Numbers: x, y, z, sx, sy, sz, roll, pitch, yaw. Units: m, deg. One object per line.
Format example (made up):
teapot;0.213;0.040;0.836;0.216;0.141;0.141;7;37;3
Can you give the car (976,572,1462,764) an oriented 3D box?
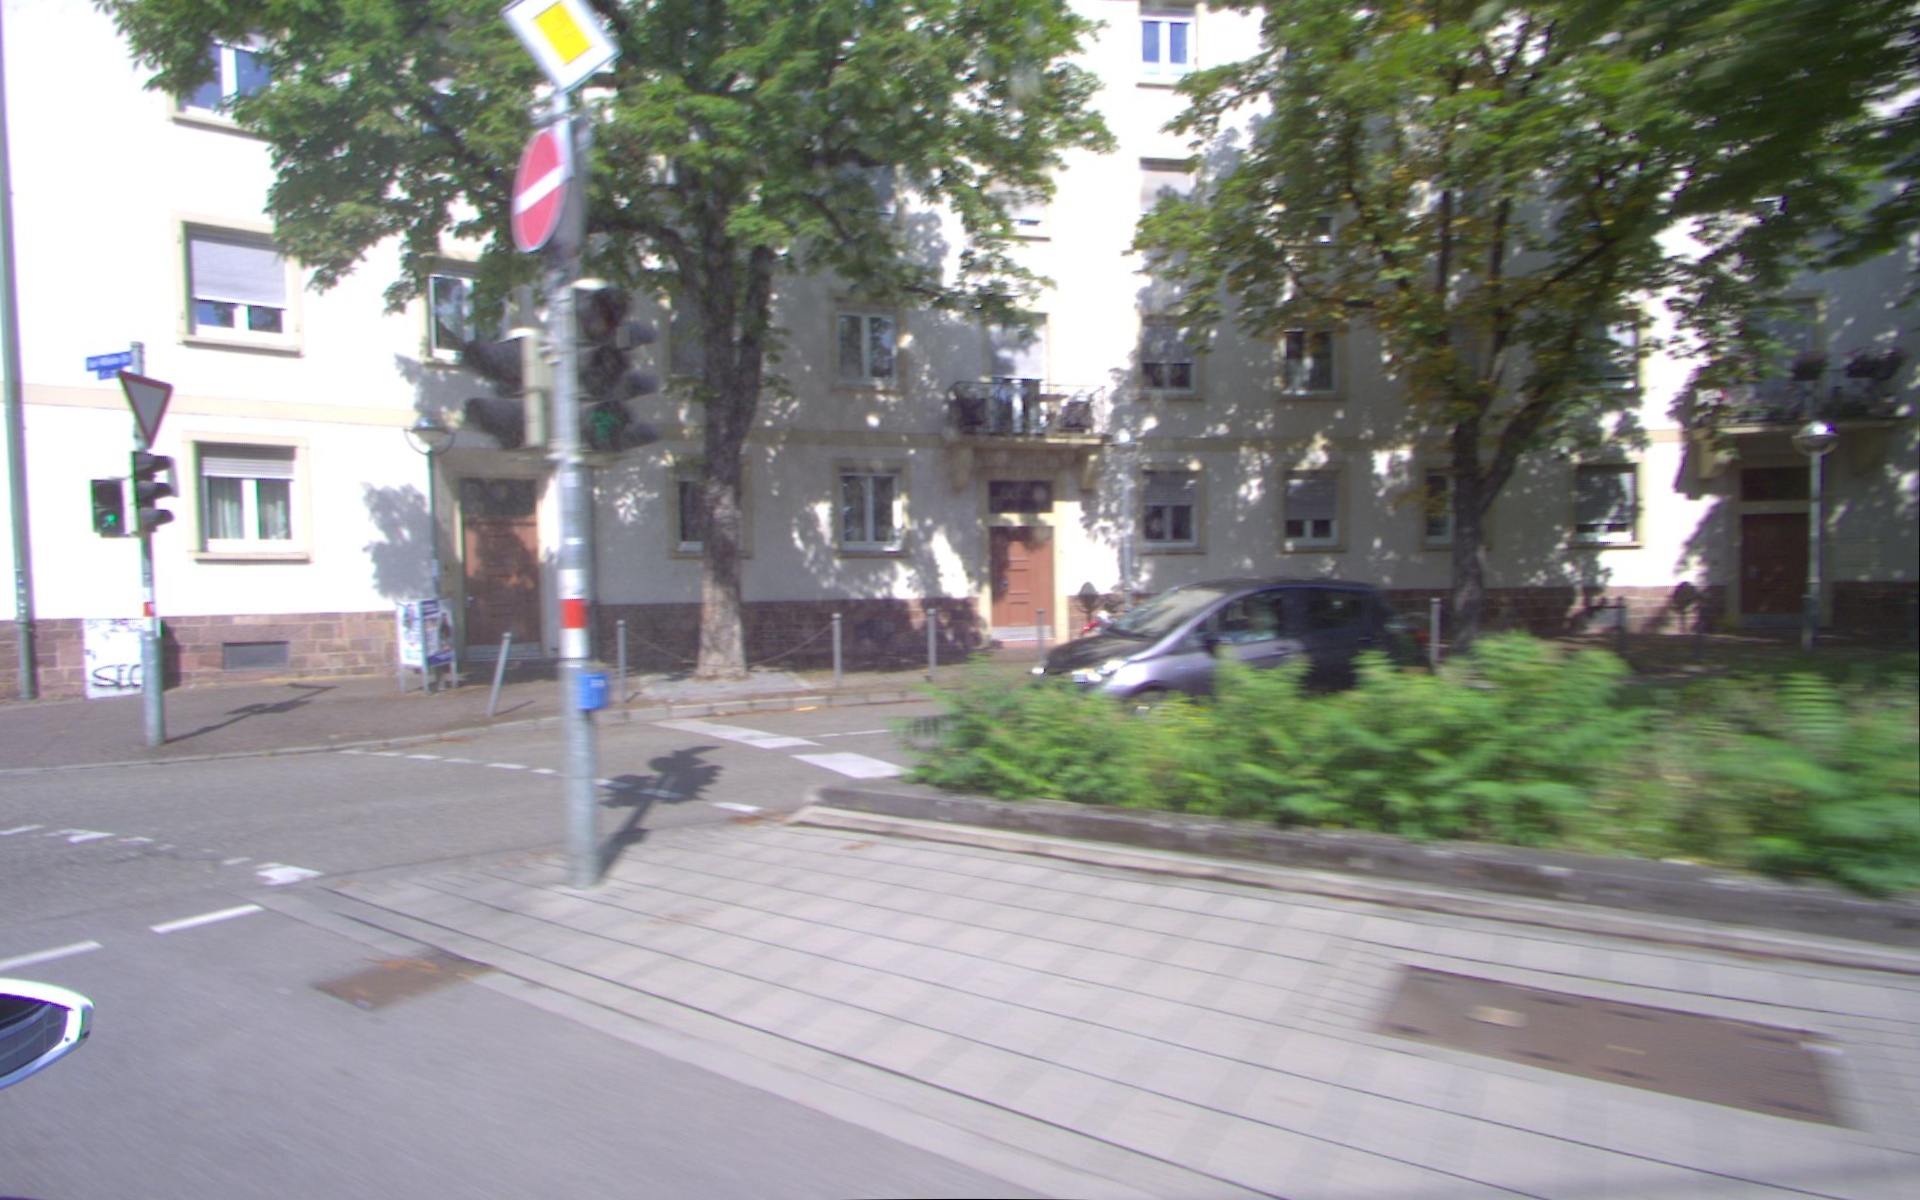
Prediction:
car;2.366;0.522;9.553;4.095;1.531;1.848;-1;3;-14

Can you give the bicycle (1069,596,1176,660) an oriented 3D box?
bicycle;2.746;0.466;17.005;1.719;1.034;0.566;-1;3;-3
